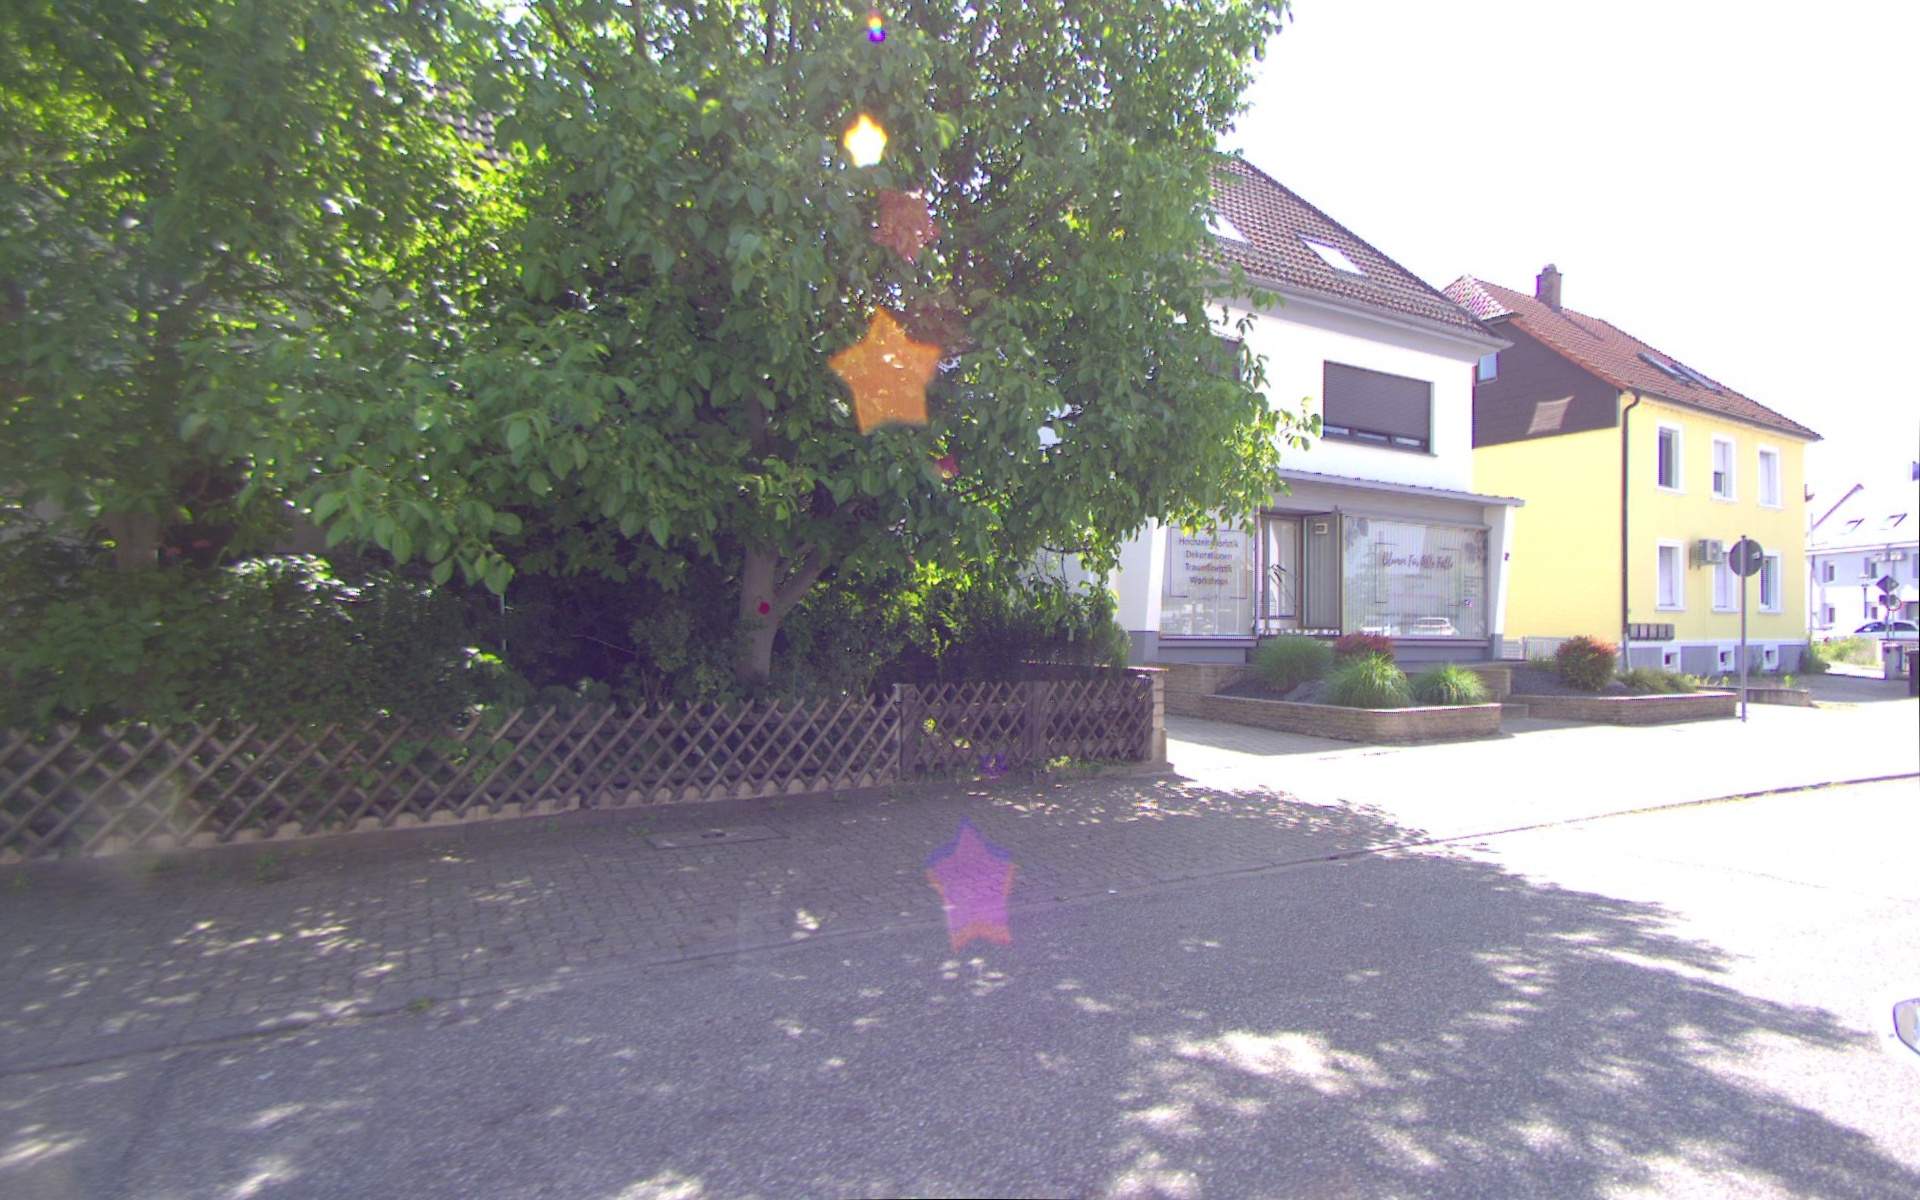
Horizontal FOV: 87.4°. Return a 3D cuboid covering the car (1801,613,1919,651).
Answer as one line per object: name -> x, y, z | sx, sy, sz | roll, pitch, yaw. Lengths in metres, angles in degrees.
car -> 43.223, 1.511, 48.160 | 4.171, 1.508, 1.748 | 3, 2, 3

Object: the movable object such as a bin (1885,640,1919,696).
movable object such as a bin -> 21.973, 1.562, 23.026 | 0.890, 1.241, 0.882 | 1, -1, -27
